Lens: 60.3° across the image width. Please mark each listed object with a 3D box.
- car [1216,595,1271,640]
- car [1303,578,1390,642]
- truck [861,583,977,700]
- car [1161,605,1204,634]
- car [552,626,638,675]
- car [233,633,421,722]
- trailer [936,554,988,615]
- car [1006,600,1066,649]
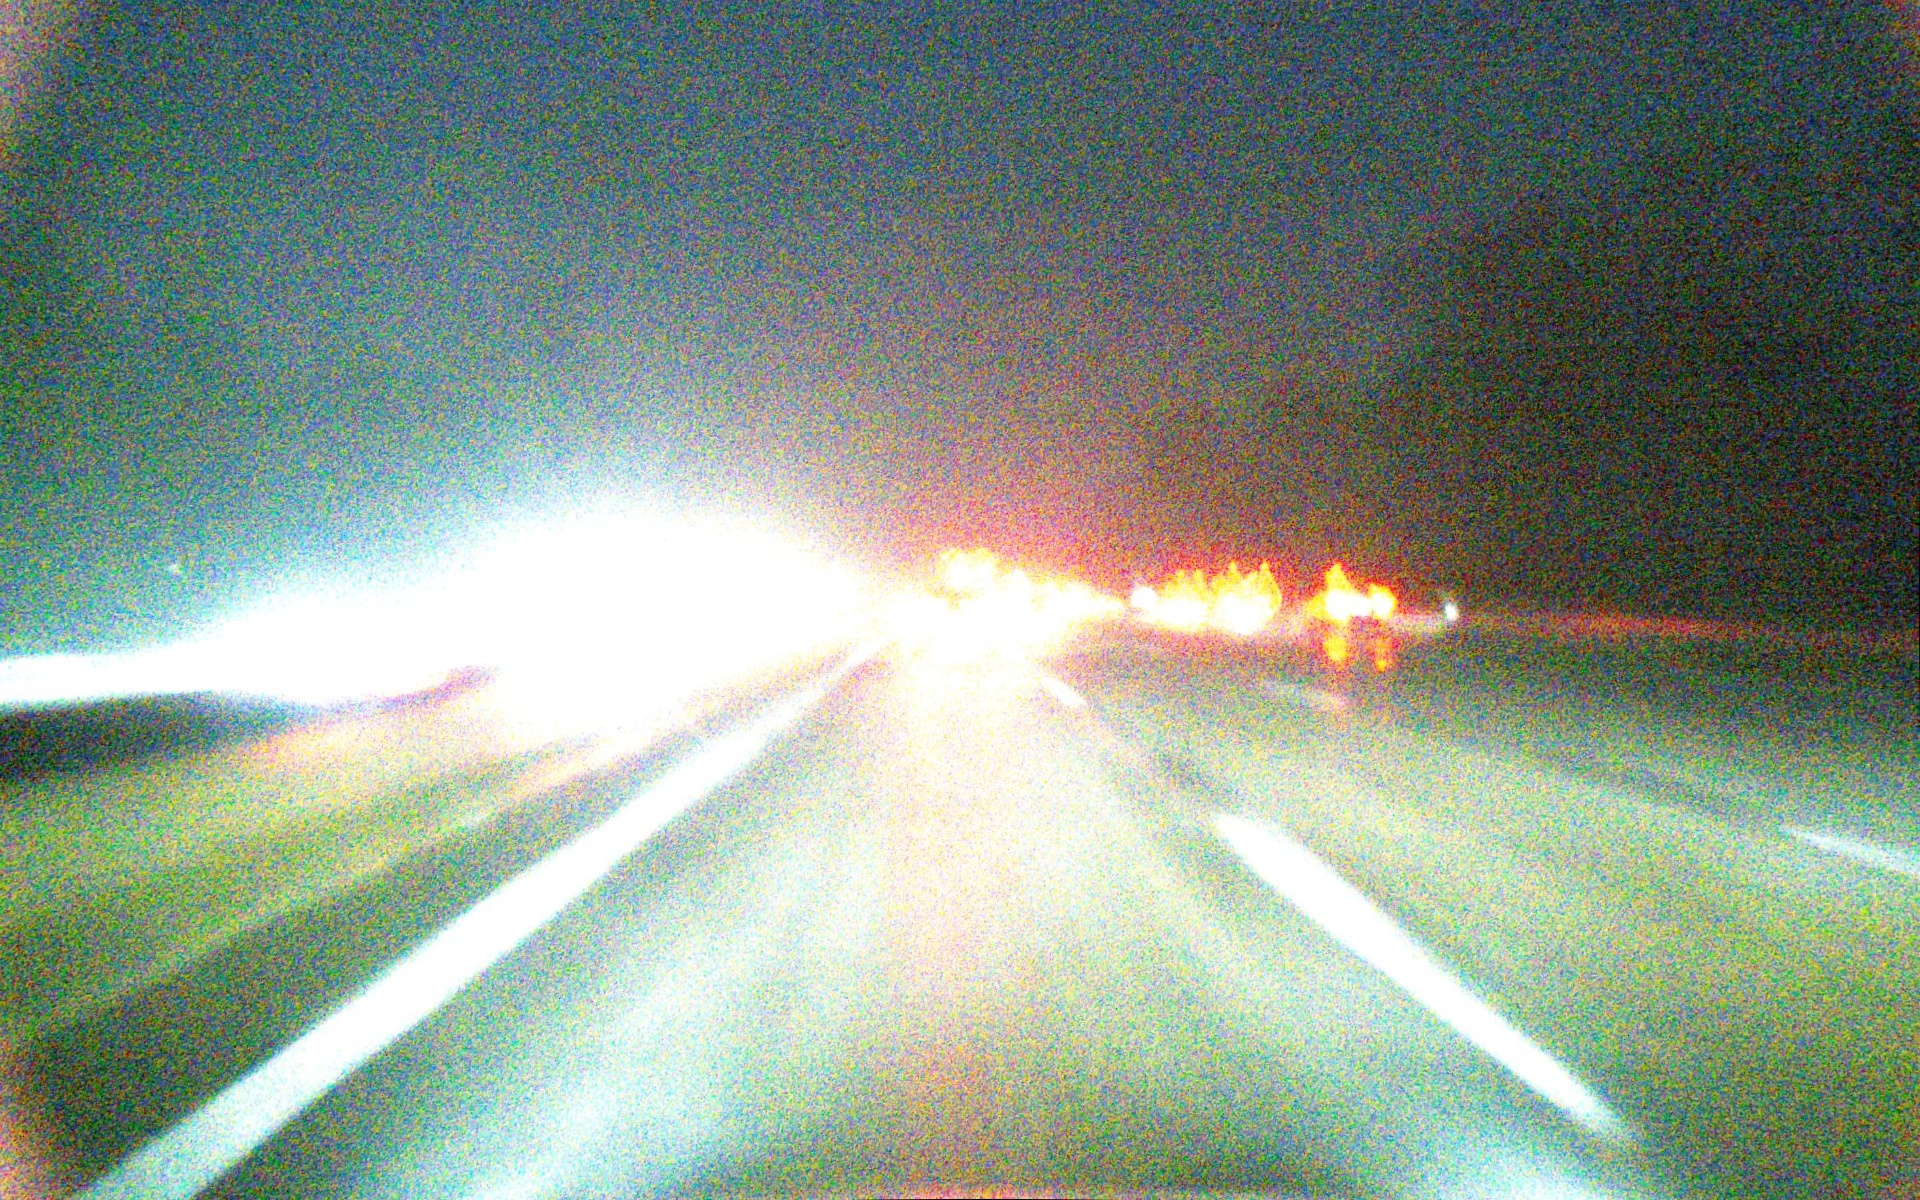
[{"bbox_3d":[13.346,0.811,78.078,2.185,2.049,4.002,0,0,4],"label":"car"},{"bbox_3d":[12.963,0.321,55.823,2.019,2.049,5.451,0,0,4],"label":"car"},{"bbox_3d":[-0.734,0.793,34.042,2.101,2.114,6.603,2,0,1],"label":"truck"},{"bbox_3d":[13.578,1.184,101.129,1.953,1.628,3.999,2,0,-2],"label":"car"},{"bbox_3d":[-12.739,1.745,57.977,1.953,1.552,4.669,2,0,0],"label":"car"},{"bbox_3d":[-12.583,1.493,33.230,1.953,1.552,4.669,2,0,0],"label":"car"},{"bbox_3d":[0.050,-1.428,138.542,2.687,4.319,13.359,5,2,-6],"label":"trailer"},{"bbox_3d":[2.681,0.859,59.101,1.764,1.645,4.255,-2,0,-2],"label":"car"}]
